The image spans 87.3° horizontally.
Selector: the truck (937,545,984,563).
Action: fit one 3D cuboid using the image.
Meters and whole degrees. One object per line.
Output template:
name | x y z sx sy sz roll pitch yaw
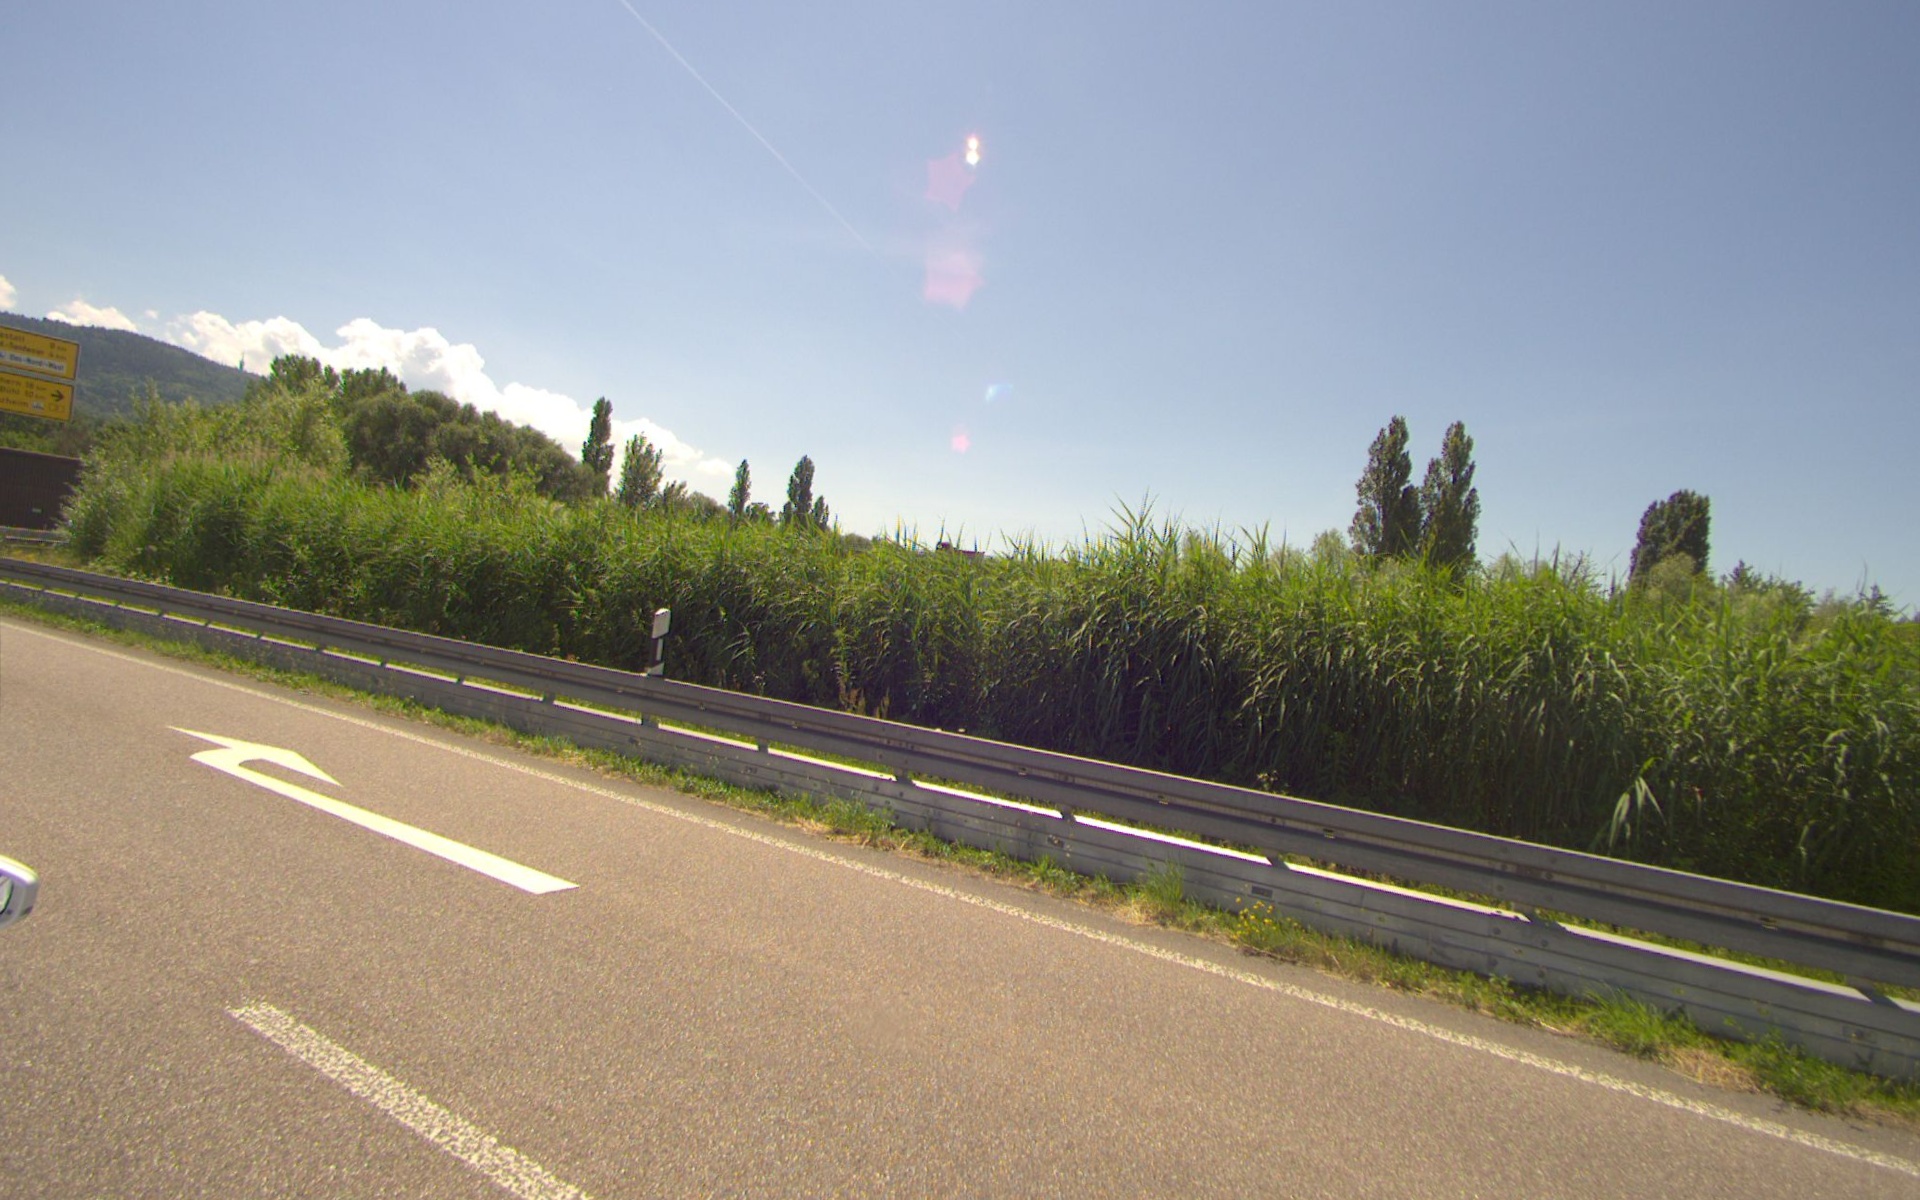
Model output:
truck | 0.046 -7.118 154.212 6.806 2.037 2.347 6 -1 32
